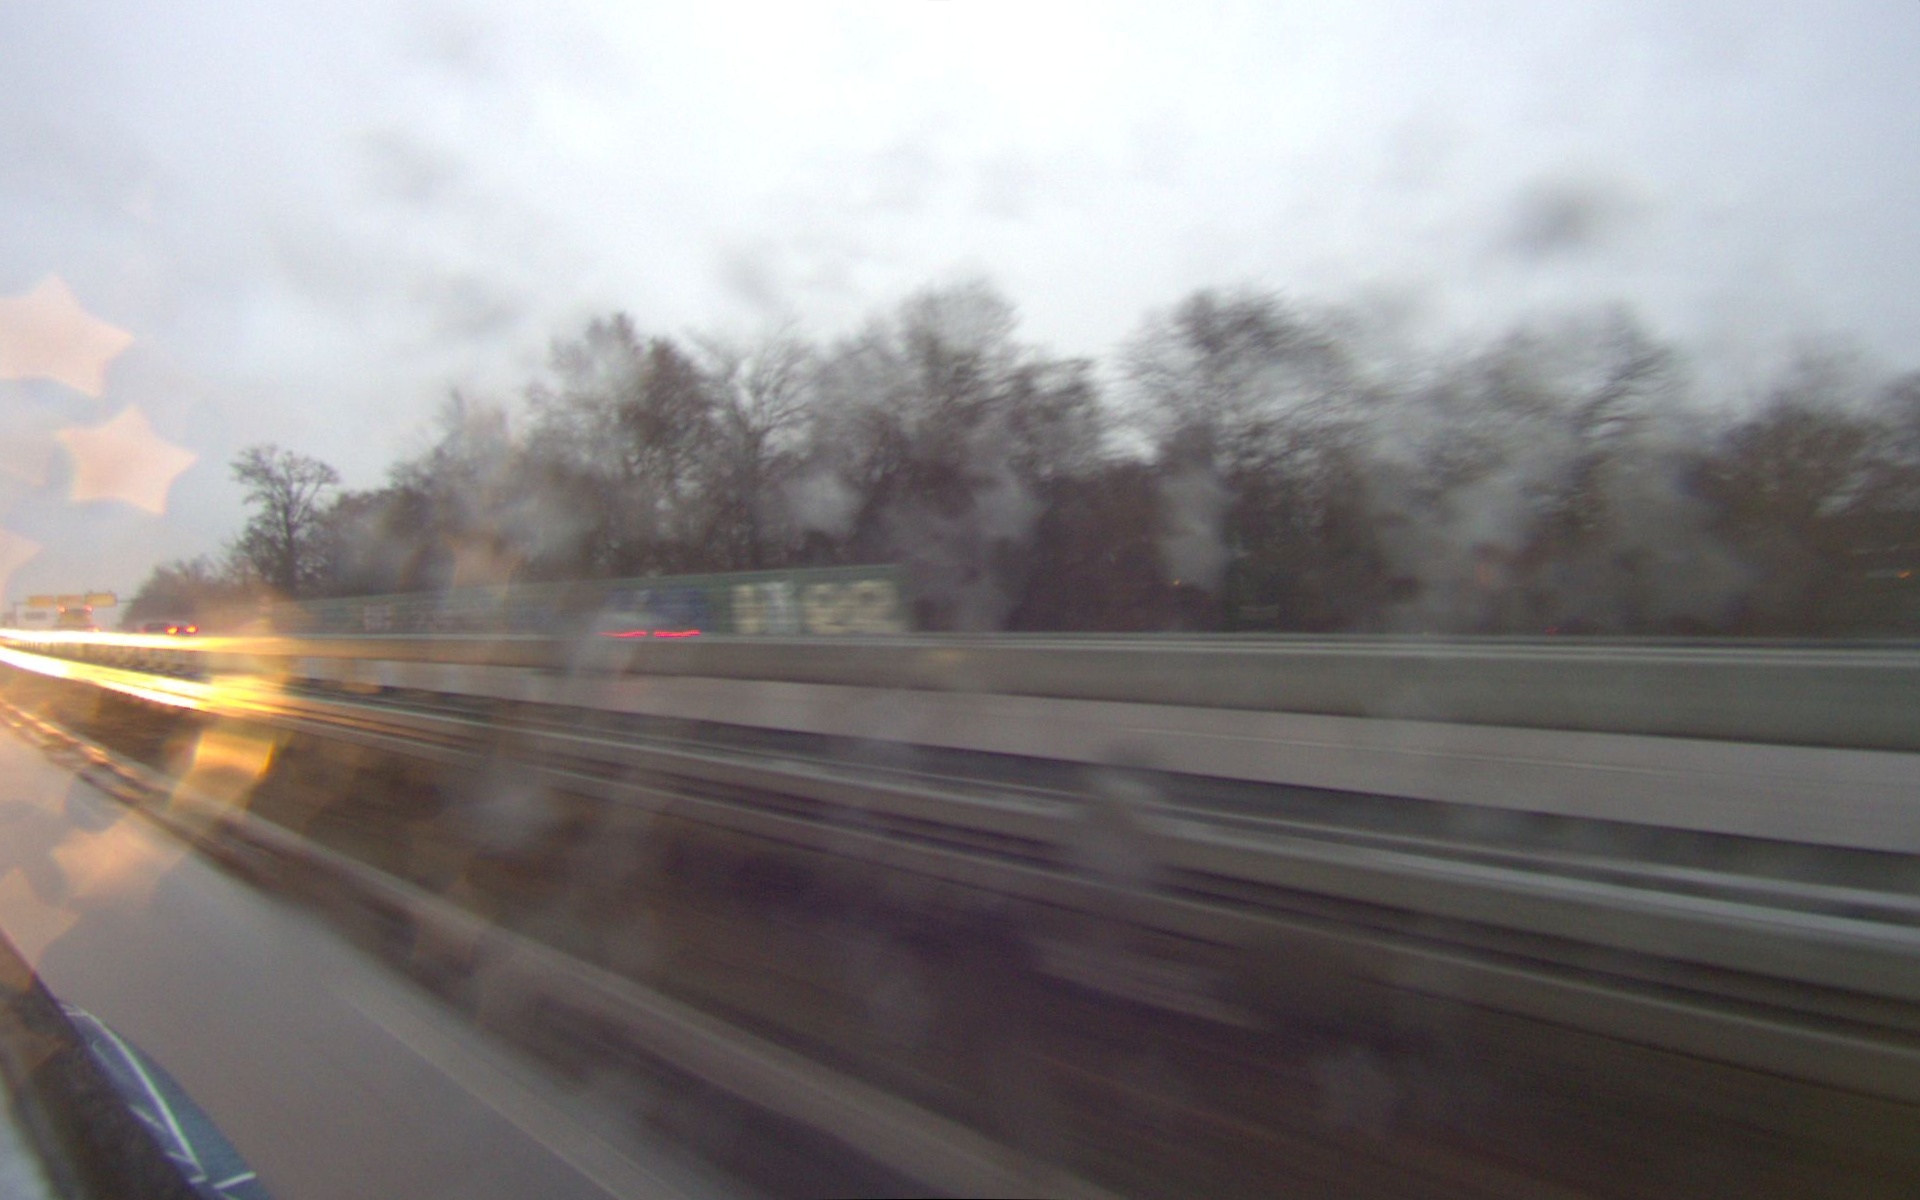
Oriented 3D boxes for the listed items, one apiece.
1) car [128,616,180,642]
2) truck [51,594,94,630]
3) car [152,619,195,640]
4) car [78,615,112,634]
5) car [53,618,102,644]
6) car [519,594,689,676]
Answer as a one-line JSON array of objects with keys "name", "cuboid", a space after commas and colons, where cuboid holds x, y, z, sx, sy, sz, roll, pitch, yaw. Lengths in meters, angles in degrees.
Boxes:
[{"name": "car", "cuboid": [-49.513, 1.760, 62.143, 4.284, 1.525, 1.971, -1, 0, 44]}, {"name": "truck", "cuboid": [-100.863, 1.339, 115.019, 3.043, 3.886, 9.374, -1, 0, -45]}, {"name": "car", "cuboid": [-61.249, 2.252, 78.821, 4.798, 1.525, 1.971, -1, 0, 44]}, {"name": "car", "cuboid": [-79.226, 2.232, 92.684, 4.001, 1.661, 1.971, -1, 0, 44]}, {"name": "car", "cuboid": [-54.378, 1.864, 62.321, 4.672, 1.493, 1.844, -1, 0, 43]}, {"name": "car", "cuboid": [-7.906, 0.724, 22.295, 4.177, 1.619, 1.708, -1, 0, 42]}]
